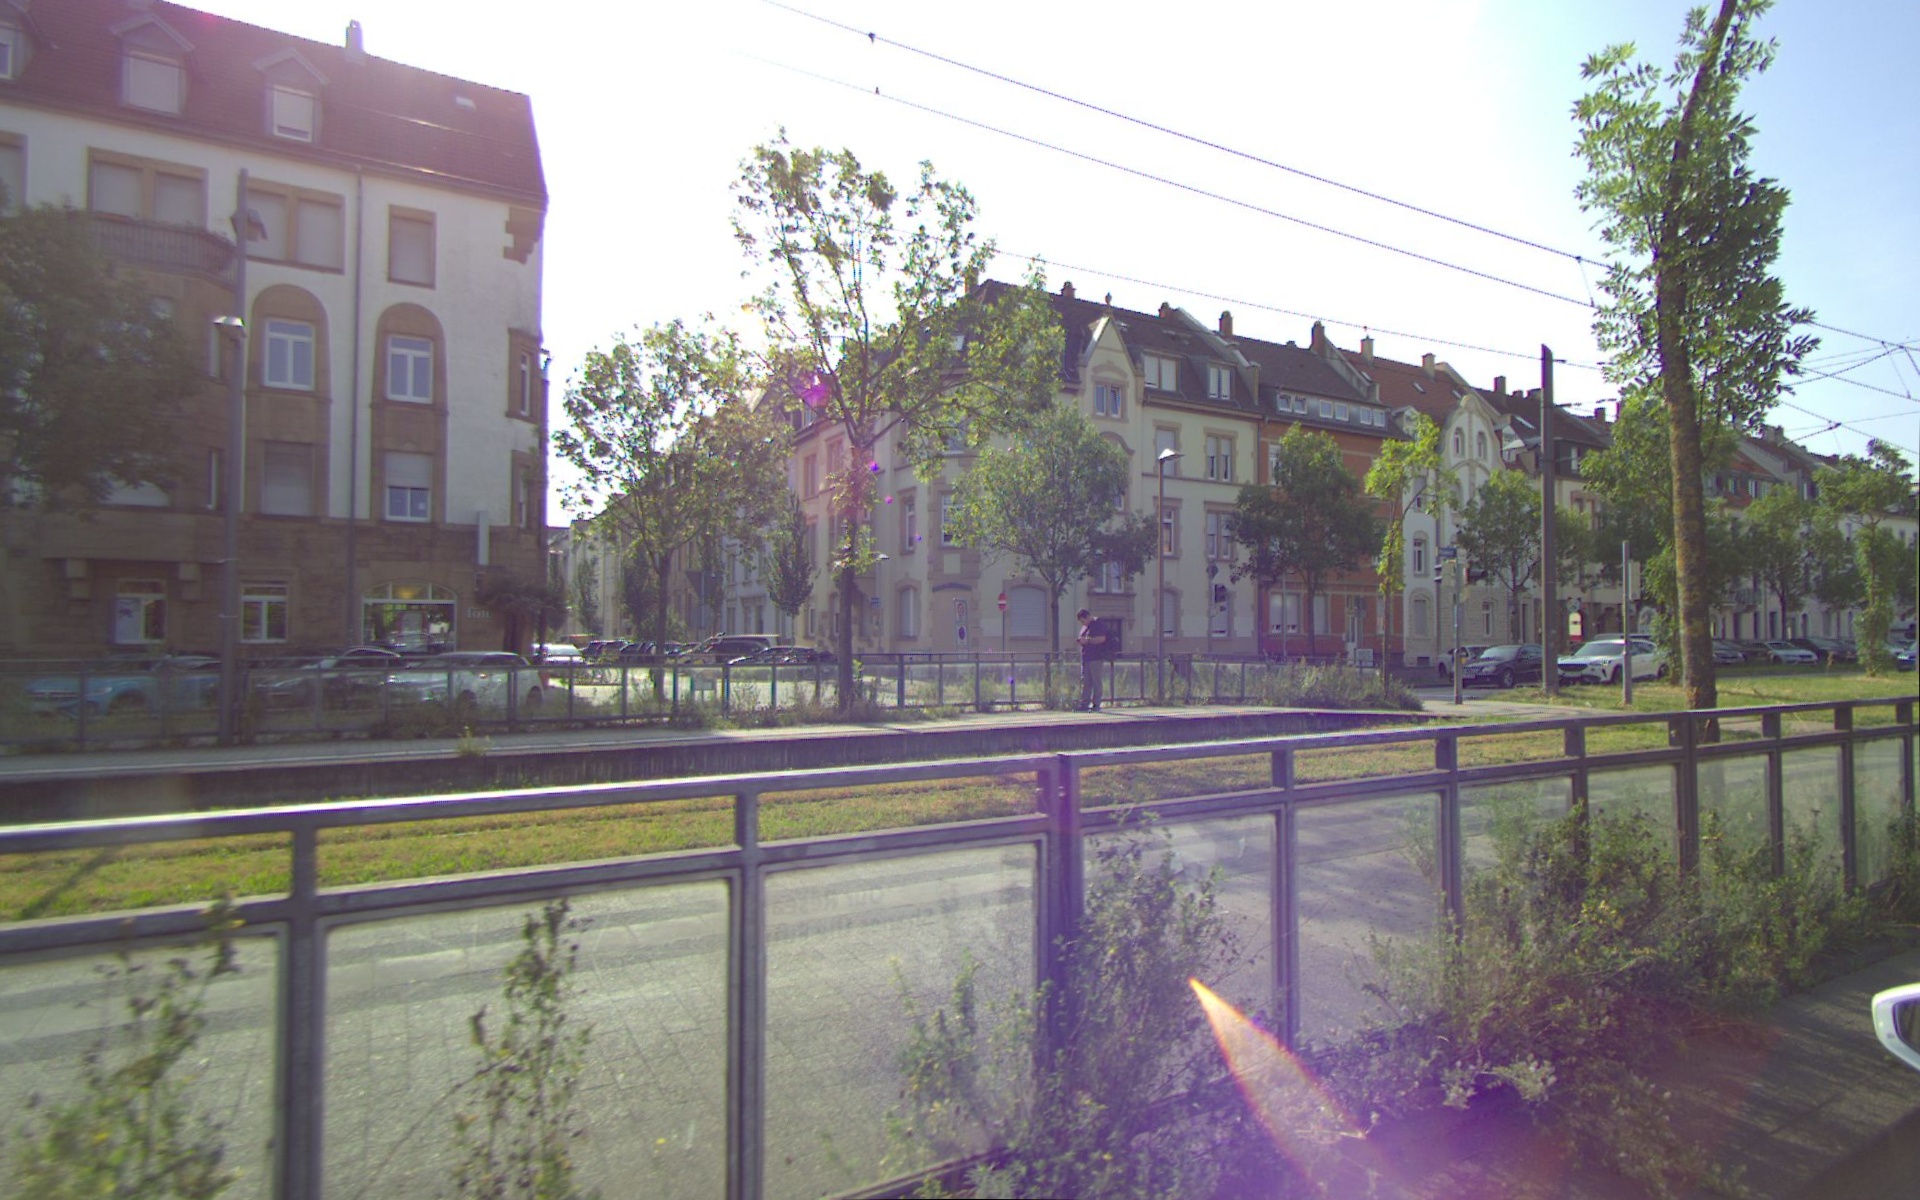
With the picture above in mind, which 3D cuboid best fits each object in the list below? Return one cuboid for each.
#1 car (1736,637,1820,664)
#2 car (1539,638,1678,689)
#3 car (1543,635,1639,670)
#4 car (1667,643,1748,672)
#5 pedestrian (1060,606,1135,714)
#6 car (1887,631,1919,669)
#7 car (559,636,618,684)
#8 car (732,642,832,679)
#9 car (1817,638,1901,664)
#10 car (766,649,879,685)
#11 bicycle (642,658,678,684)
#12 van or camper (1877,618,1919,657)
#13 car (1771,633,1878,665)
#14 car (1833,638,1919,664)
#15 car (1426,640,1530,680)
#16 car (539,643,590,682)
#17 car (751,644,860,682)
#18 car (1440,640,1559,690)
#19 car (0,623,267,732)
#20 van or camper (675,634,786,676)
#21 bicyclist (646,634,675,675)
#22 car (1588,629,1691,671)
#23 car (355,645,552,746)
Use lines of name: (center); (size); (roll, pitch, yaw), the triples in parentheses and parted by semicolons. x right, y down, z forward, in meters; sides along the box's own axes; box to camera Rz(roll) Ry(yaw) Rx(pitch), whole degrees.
car: (43.458, 2.661, 53.476); (1.629, 1.258, 3.688); (2, 0, 5)
car: (19.864, 1.927, 30.730); (4.373, 1.459, 1.763); (2, -4, -30)
car: (29.402, 2.407, 46.965); (1.819, 1.366, 4.702); (2, 0, 5)
car: (37.608, 2.872, 50.626); (1.495, 1.258, 3.688); (-1, 0, 4)
pedestrian: (2.219, 0.964, 16.247); (0.842, 1.676, 0.880); (2, -2, -30)
car: (42.720, 2.213, 44.004); (4.523, 1.553, 1.825); (2, 0, -30)
car: (-14.262, 2.251, 38.424); (1.584, 1.604, 3.798); (2, 0, -28)
car: (-7.643, 2.602, 43.252); (3.953, 1.534, 1.660); (2, -3, -30)
car: (52.190, 2.949, 58.403); (1.629, 1.258, 3.687); (2, 0, 1)
car: (-5.221, 2.539, 38.333); (3.953, 1.315, 1.660); (2, -3, -30)
bicycle: (-11.839, 2.781, 39.607); (0.849, 0.877, 2.001); (2, 0, -33)
van or camper: (65.686, 2.574, 67.966); (2.155, 2.607, 5.929); (2, 0, 5)
car: (49.165, 2.769, 57.257); (1.799, 1.765, 4.646); (0, -3, -5)
car: (54.606, 3.008, 59.964); (1.629, 1.334, 4.016); (2, 0, 5)
car: (21.442, 2.458, 41.798); (1.983, 1.504, 4.780); (2, -2, 2)
car: (-18.439, 2.860, 46.717); (1.707, 1.716, 3.971); (2, -3, -28)
car: (-6.132, 2.481, 39.938); (3.953, 1.430, 1.660); (2, -3, -30)
car: (17.478, 2.090, 32.508); (3.956, 1.534, 1.659); (2, -3, -32)
car: (-15.762, 1.369, 19.240); (1.960, 1.749, 4.002); (2, 0, 5)
van or camper: (-11.279, 2.707, 49.510); (4.972, 1.946, 1.777); (0, -3, 3)
bicyclist: (-11.784, 2.139, 39.565); (0.840, 1.579, 0.894); (2, 0, -33)
car: (32.161, 2.310, 47.744); (1.819, 1.749, 4.954); (2, 0, 5)
car: (-10.782, 1.968, 21.773); (1.960, 1.749, 4.002); (2, 0, 5)
